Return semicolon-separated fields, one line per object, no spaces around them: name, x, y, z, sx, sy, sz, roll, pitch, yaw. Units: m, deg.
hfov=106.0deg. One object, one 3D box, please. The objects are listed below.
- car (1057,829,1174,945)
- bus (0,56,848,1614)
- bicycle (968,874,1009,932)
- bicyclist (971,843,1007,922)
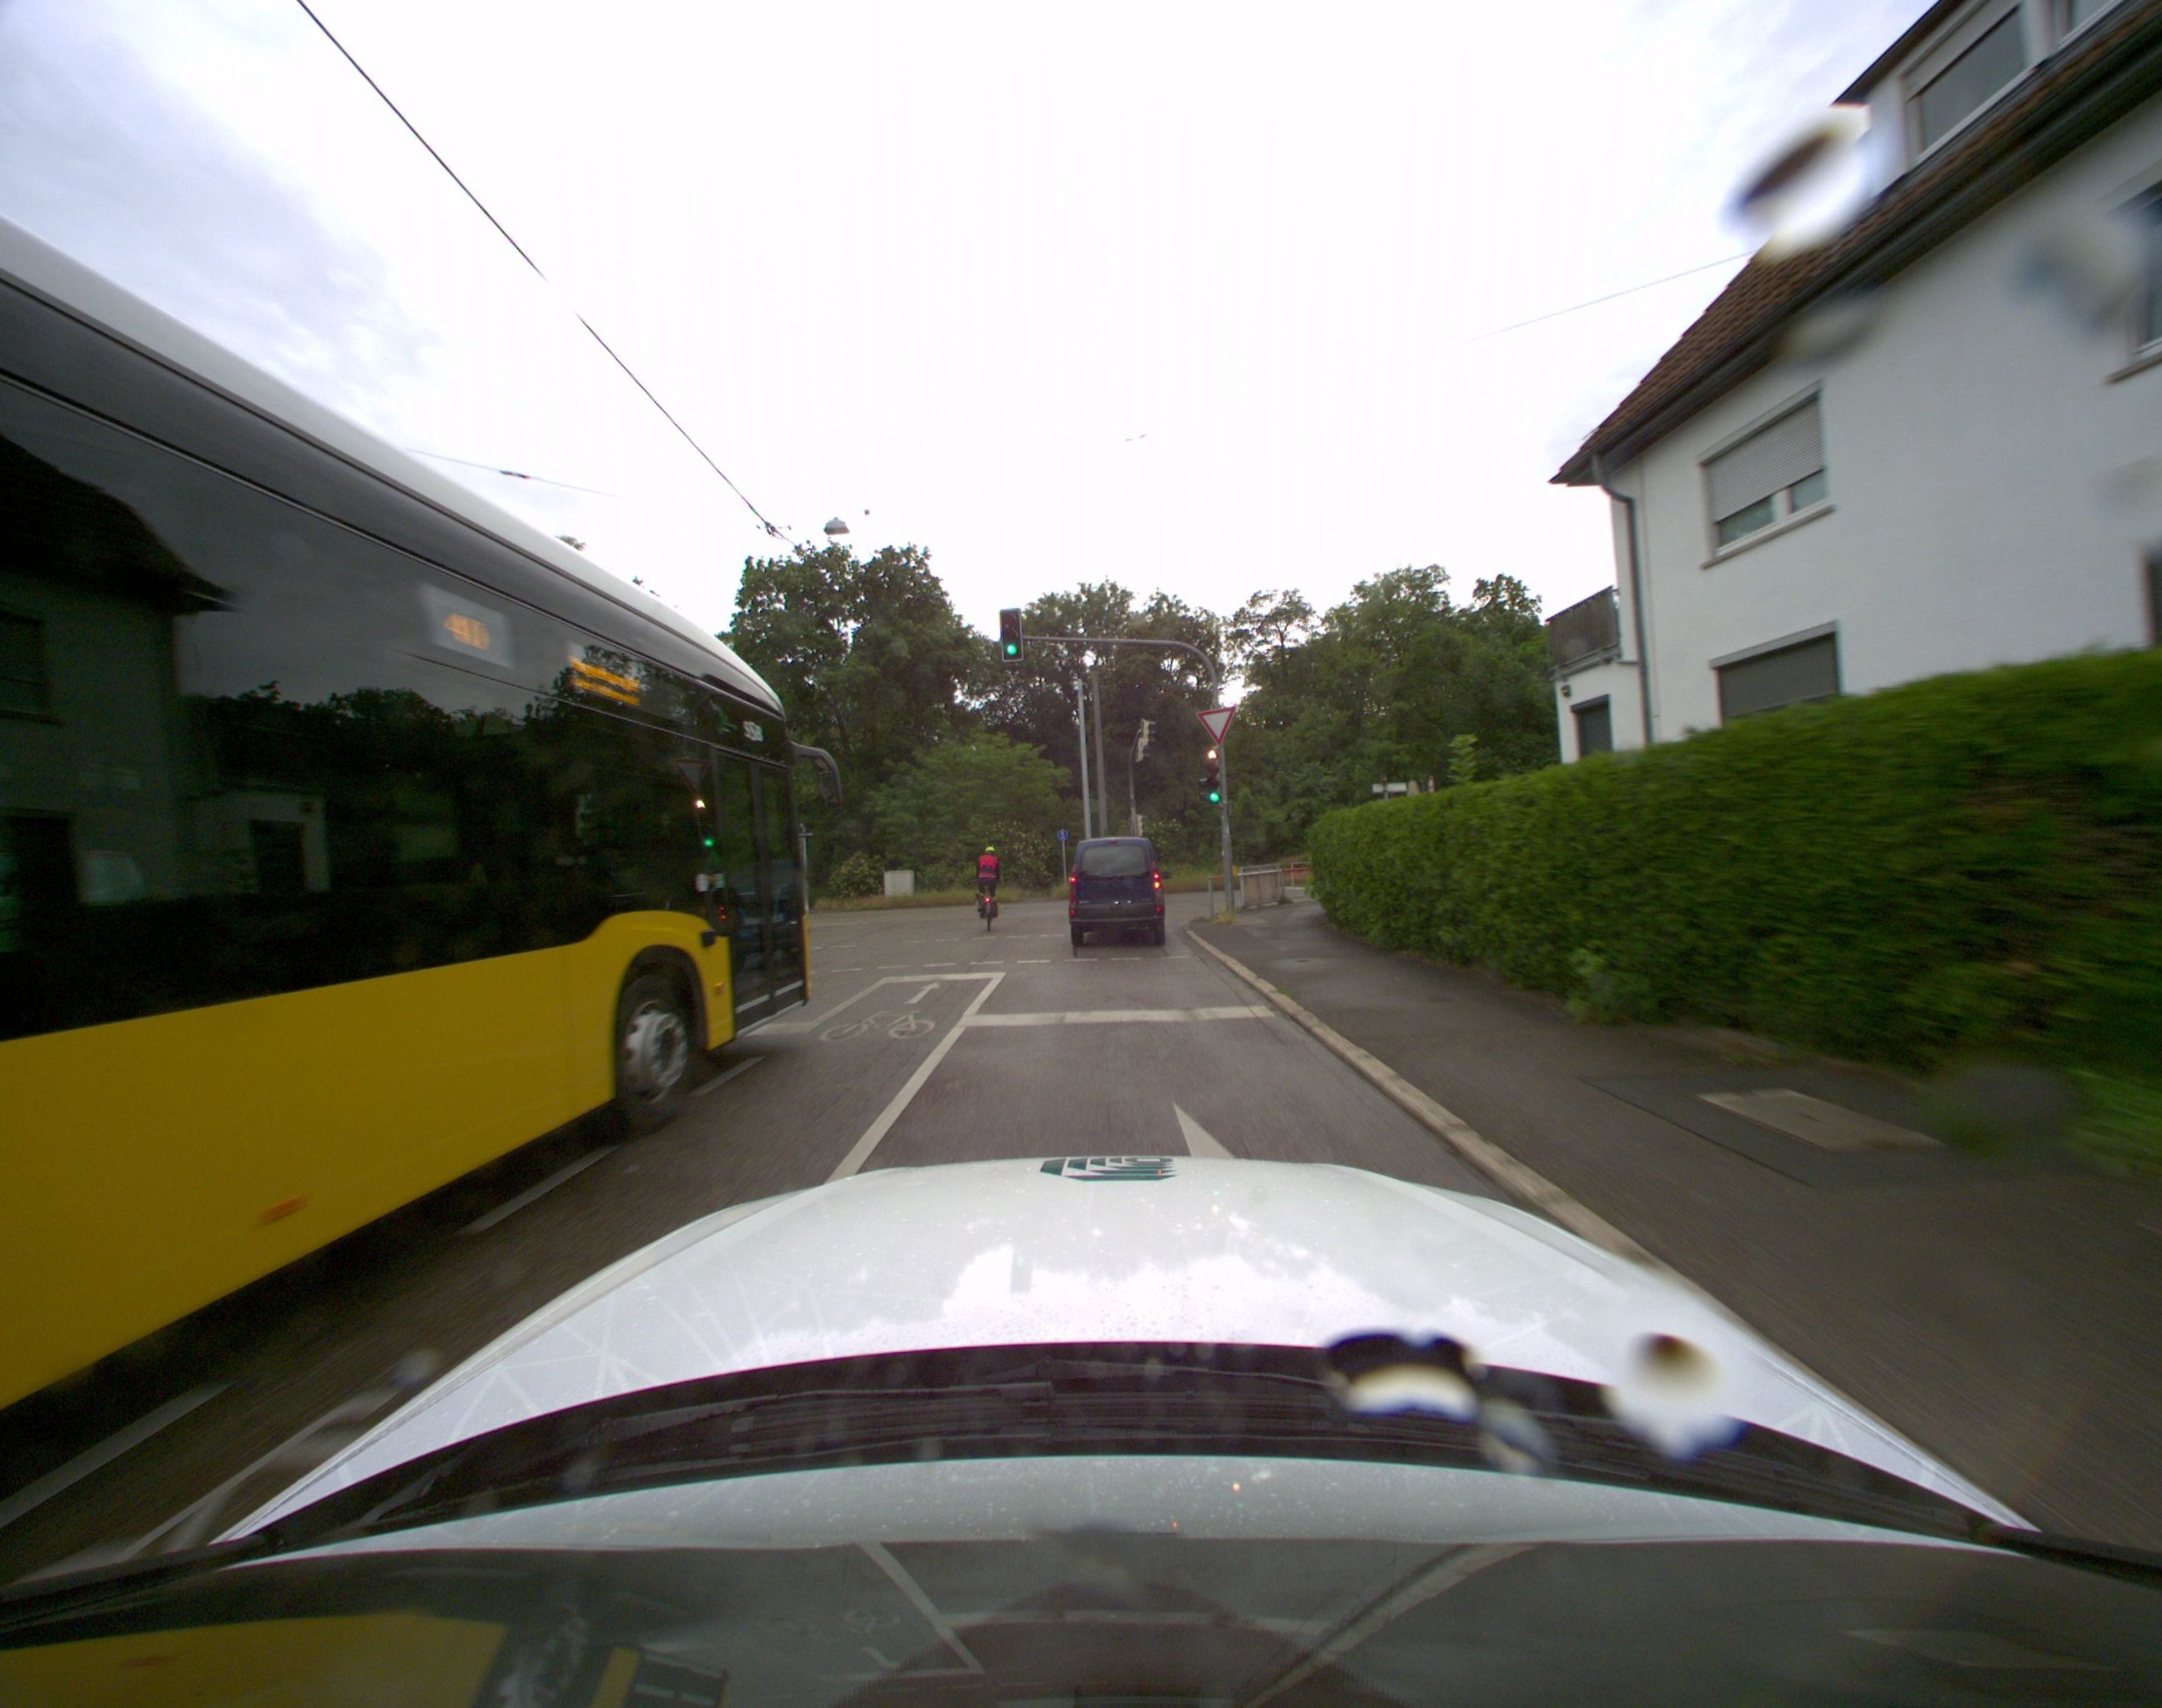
car;0.647;0.563;15.288;1.802;1.797;4.002;-3;-1;2
bus;-3.779;-0.025;3.104;2.890;3.398;9.040;-4;0;0
bicycle;-1.994;1.035;17.848;0.576;1.096;2.155;-2;0;1
bicyclist;-2.010;0.605;17.908;0.576;1.652;1.049;-2;0;1
